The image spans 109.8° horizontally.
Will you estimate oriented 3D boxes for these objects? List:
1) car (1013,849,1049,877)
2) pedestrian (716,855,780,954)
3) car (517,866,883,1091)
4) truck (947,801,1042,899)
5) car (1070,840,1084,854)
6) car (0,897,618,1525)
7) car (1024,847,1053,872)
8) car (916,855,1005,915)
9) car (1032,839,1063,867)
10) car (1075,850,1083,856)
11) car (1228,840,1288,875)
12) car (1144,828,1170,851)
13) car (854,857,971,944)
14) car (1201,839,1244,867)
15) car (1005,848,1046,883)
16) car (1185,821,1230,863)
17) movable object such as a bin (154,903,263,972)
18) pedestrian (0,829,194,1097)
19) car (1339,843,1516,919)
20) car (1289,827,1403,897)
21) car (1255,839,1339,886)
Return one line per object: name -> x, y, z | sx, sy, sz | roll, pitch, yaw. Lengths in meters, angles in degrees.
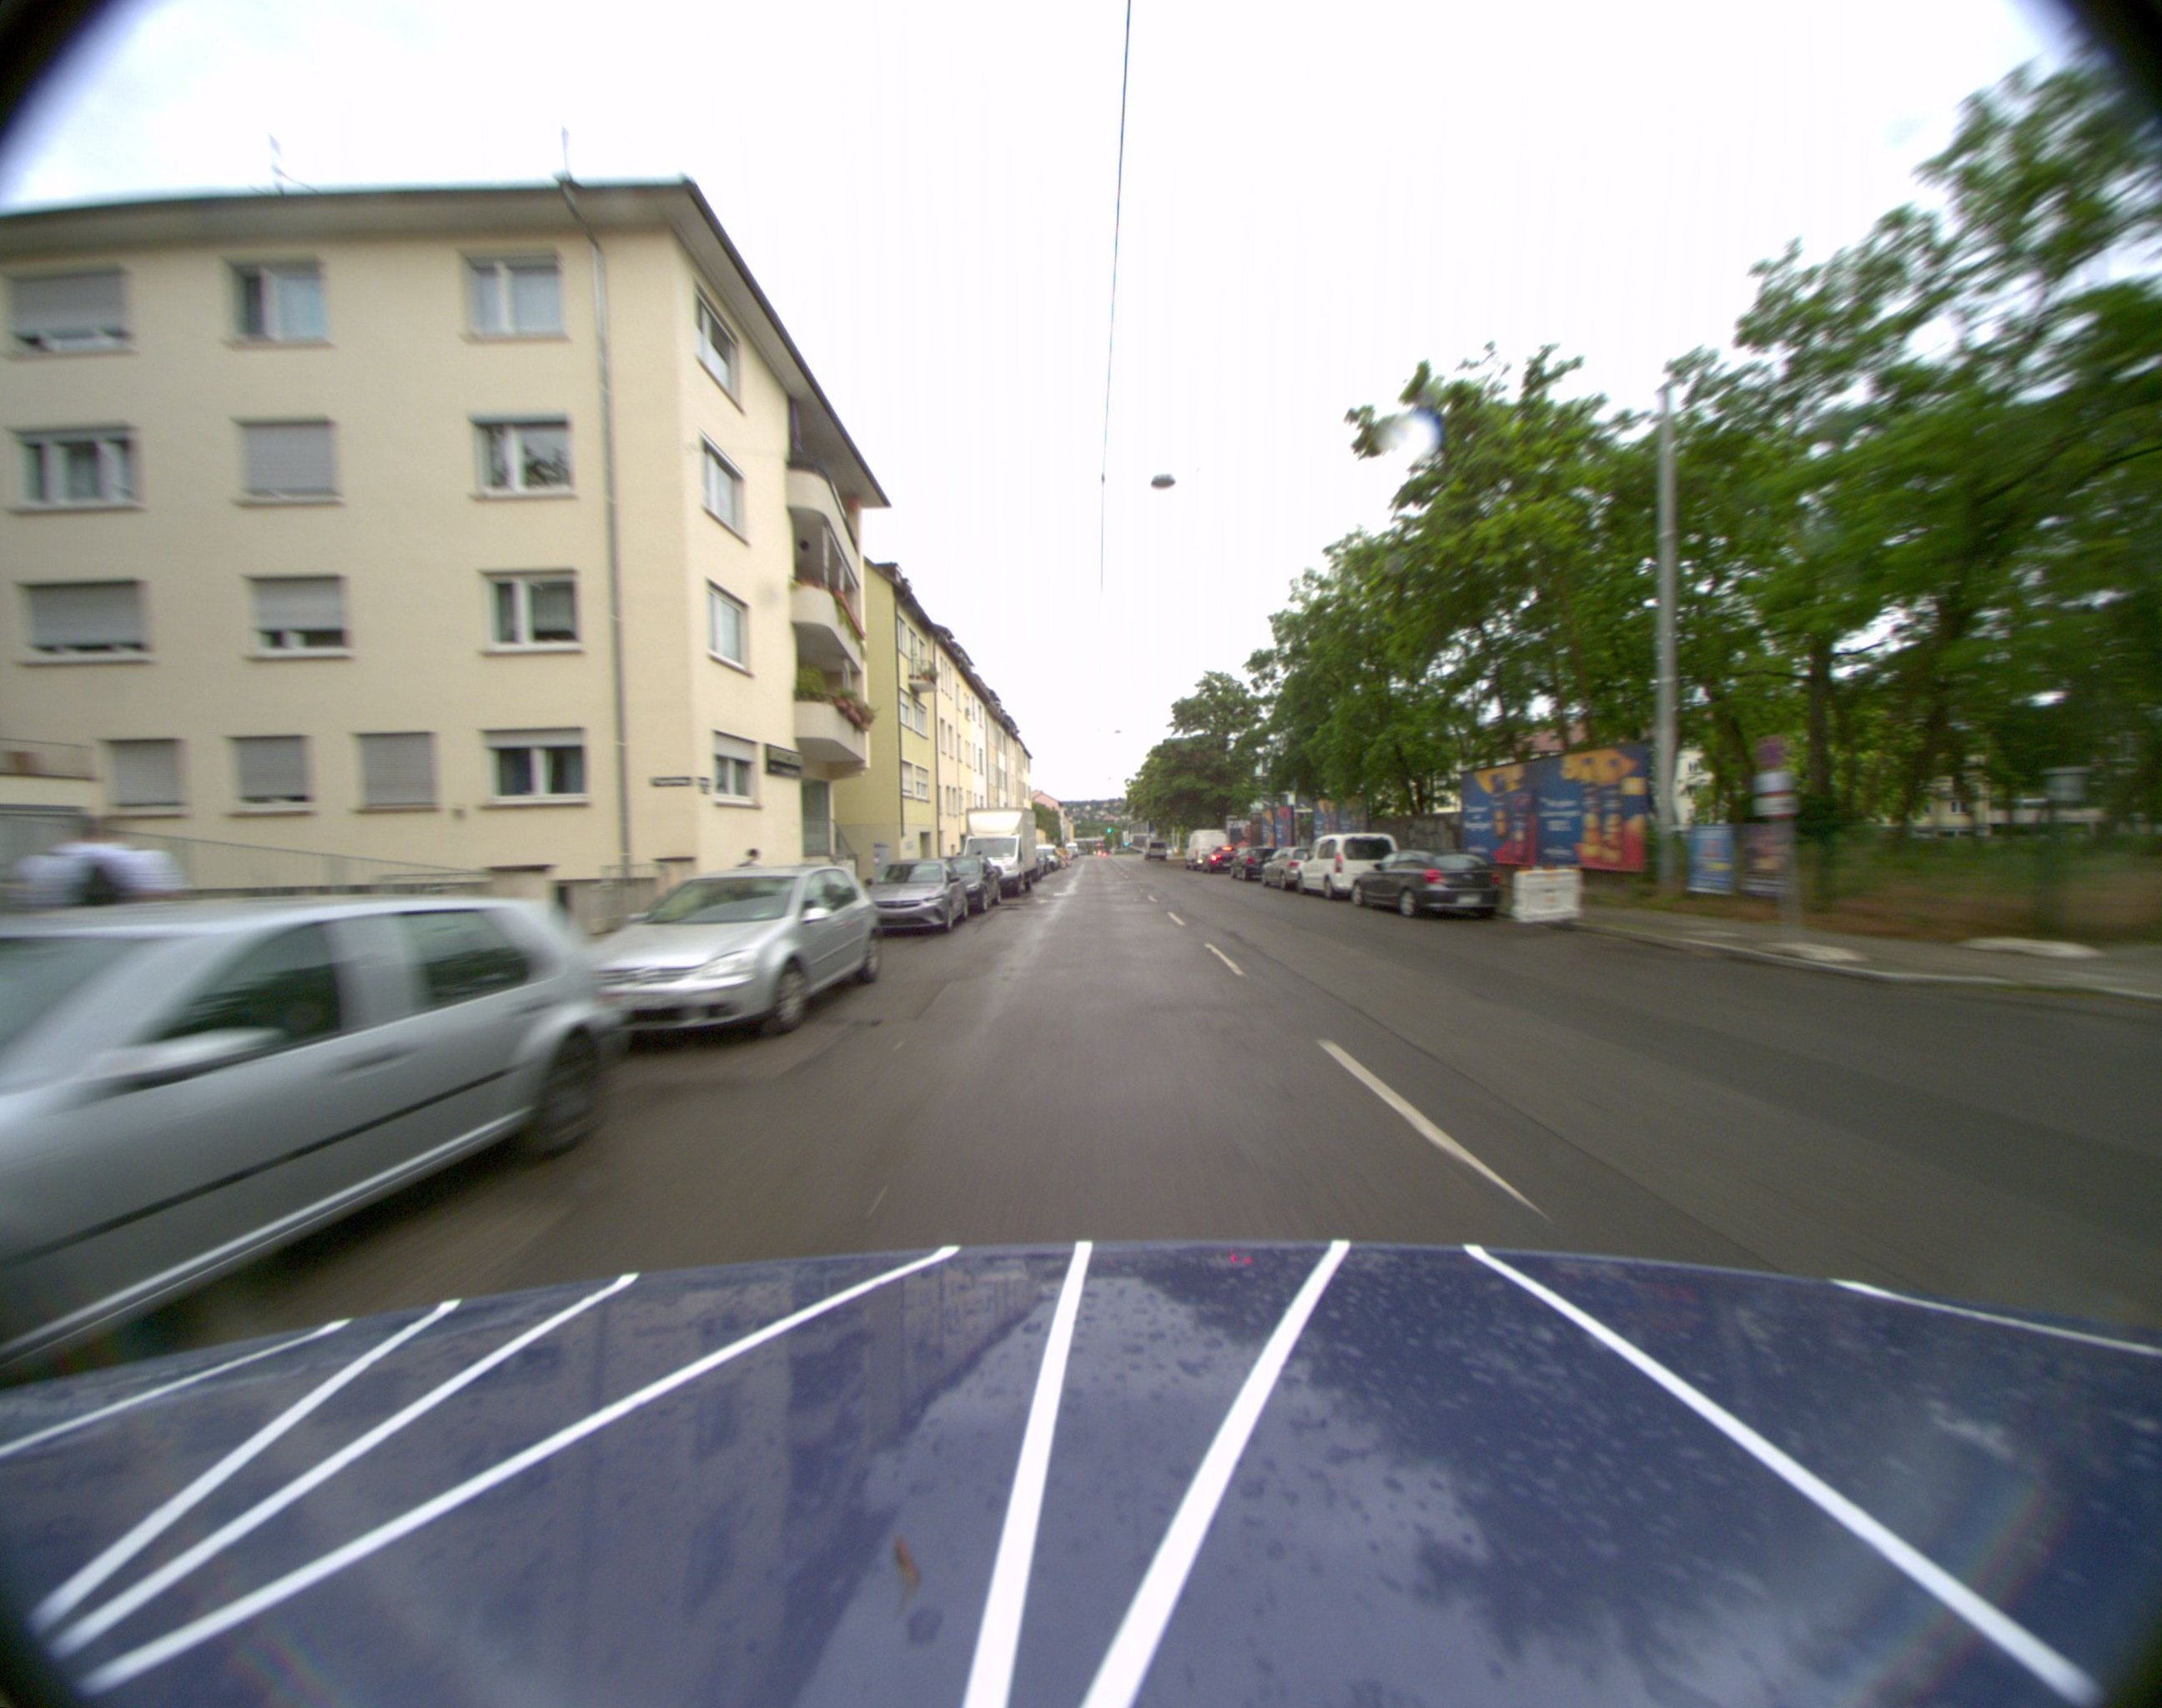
car -> -2.858, 0.498, 44.121 | 1.667, 1.491, 4.097 | -1, 1, 1
pedestrian -> -5.676, 0.838, 12.977 | 0.665, 1.594, 0.744 | 3, 2, 5
car -> -3.350, 0.964, 7.636 | 1.667, 1.494, 3.920 | -1, 2, 0
truck -> -2.977, -0.216, 28.109 | 2.475, 3.154, 7.034 | -1, 2, 2
car -> -0.608, -1.226, 133.143 | 2.211, 2.449, 6.079 | -2, 1, 1
car -> -3.604, 1.014, 2.548 | 1.667, 1.392, 3.920 | -1, 2, 0
car -> -2.709, 0.315, 49.026 | 1.581, 1.462, 3.501 | -1, 1, 1
car -> -3.140, 0.765, 20.534 | 1.667, 1.412, 4.042 | -1, 0, 1
car -> -2.358, -0.111, 54.571 | 1.822, 1.913, 4.239 | 0, 1, 3
car -> -0.478, -0.299, 186.956 | 1.630, 1.402, 3.778 | -2, 0, 2
car -> 7.541, 0.093, 32.791 | 1.686, 1.391, 3.909 | 0, 2, 0
car -> 8.616, -1.671, 86.878 | 2.236, 2.564, 6.536 | 1, 1, 0
car -> -3.356, 0.855, 15.856 | 1.668, 1.413, 3.919 | -1, 2, -2
car -> 7.654, -0.083, 41.523 | 1.809, 1.408, 4.384 | -1, 1, 4
car -> -2.711, 0.523, 38.105 | 1.667, 1.564, 4.097 | -1, 1, 1
car -> 7.859, -0.773, 47.876 | 2.016, 2.473, 5.983 | 0, 1, 2
movable object such as a bin -> -12.228, 1.165, 10.673 | 0.743, 0.872, 0.652 | 1, 2, -2
pedestrian -> -6.955, 0.705, 5.358 | 0.770, 1.722, 0.742 | 2, 0, -40
car -> 7.211, 0.474, 16.352 | 1.728, 1.368, 4.342 | 0, 2, -1
car -> 7.342, 0.141, 21.538 | 1.728, 1.790, 4.343 | 0, 2, 0
car -> 7.369, 0.216, 26.309 | 1.686, 1.454, 4.275 | 0, 2, 0
